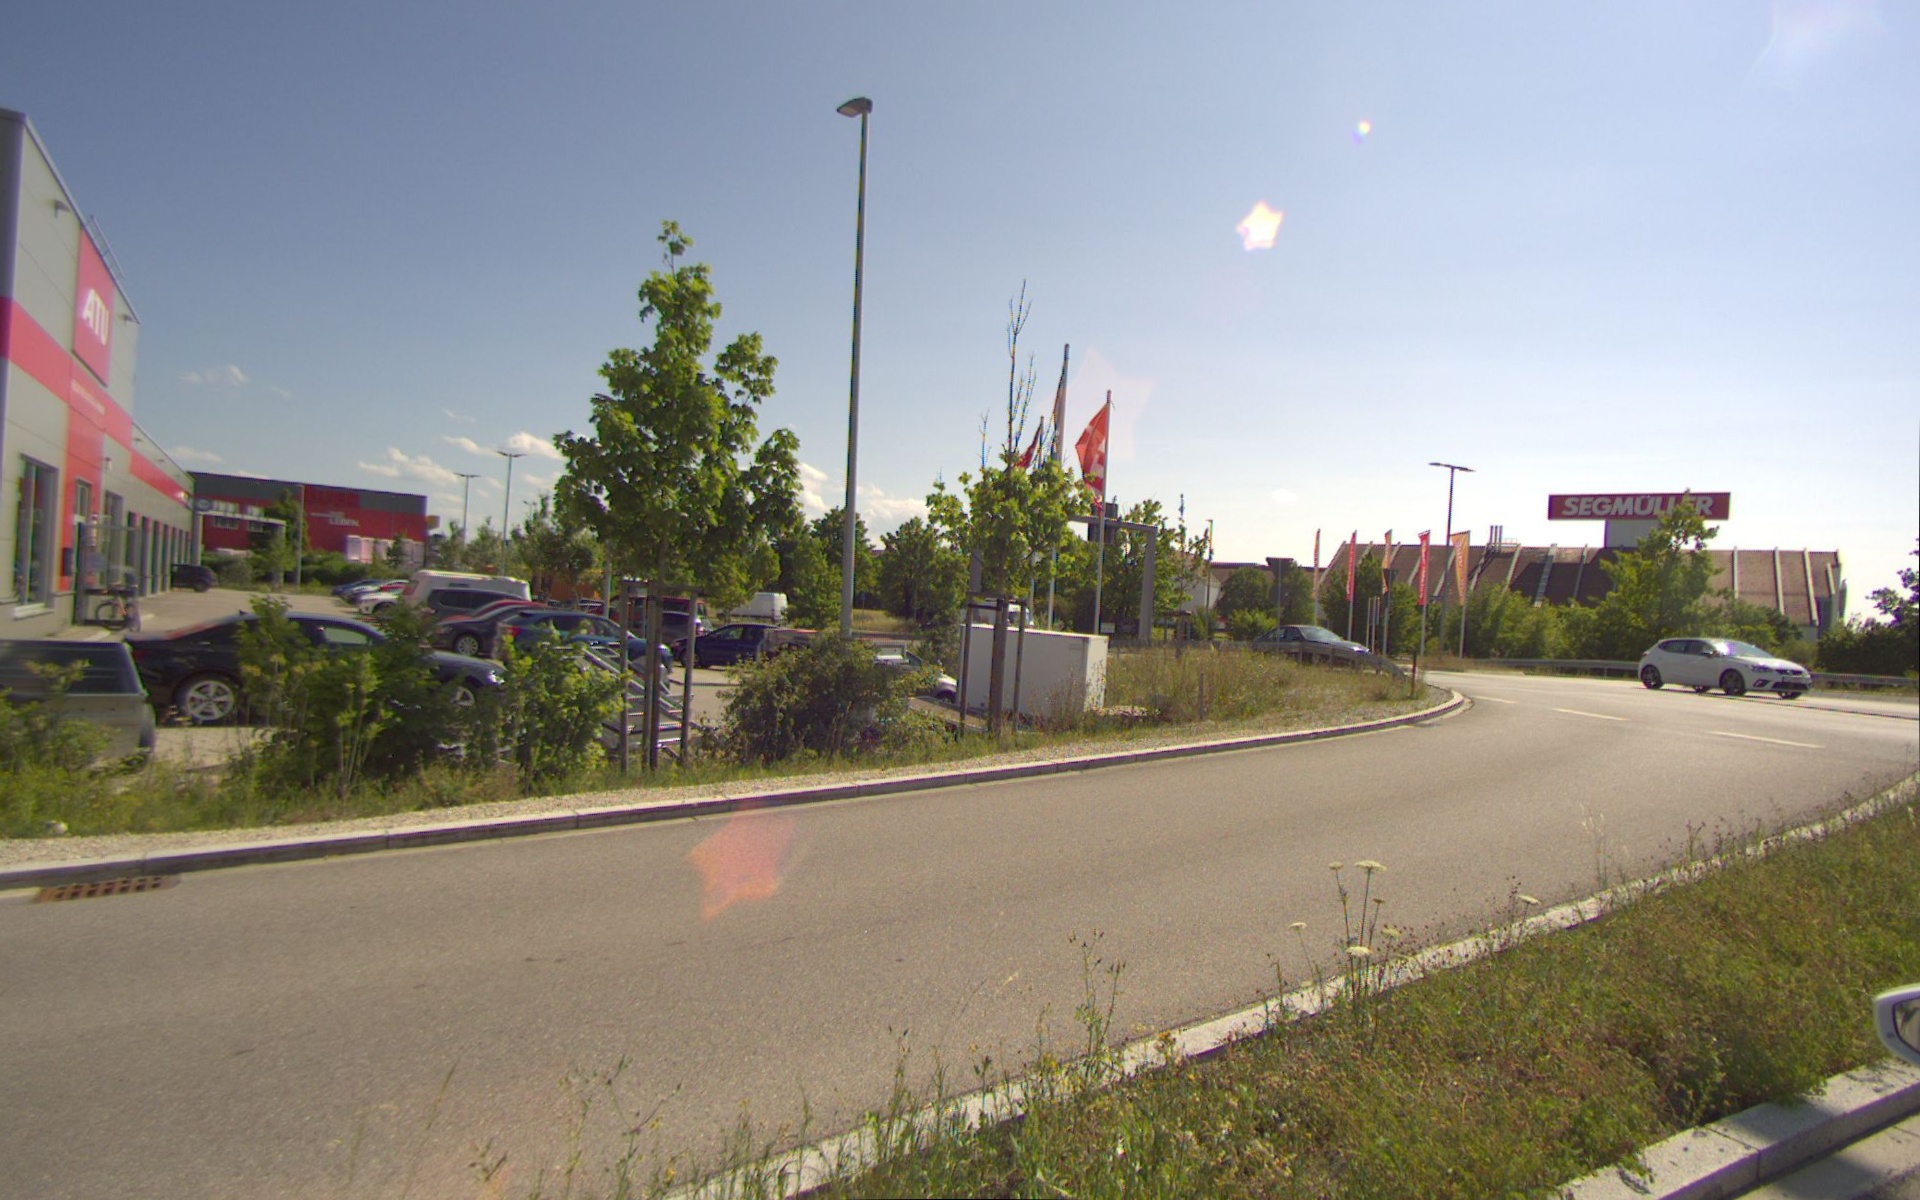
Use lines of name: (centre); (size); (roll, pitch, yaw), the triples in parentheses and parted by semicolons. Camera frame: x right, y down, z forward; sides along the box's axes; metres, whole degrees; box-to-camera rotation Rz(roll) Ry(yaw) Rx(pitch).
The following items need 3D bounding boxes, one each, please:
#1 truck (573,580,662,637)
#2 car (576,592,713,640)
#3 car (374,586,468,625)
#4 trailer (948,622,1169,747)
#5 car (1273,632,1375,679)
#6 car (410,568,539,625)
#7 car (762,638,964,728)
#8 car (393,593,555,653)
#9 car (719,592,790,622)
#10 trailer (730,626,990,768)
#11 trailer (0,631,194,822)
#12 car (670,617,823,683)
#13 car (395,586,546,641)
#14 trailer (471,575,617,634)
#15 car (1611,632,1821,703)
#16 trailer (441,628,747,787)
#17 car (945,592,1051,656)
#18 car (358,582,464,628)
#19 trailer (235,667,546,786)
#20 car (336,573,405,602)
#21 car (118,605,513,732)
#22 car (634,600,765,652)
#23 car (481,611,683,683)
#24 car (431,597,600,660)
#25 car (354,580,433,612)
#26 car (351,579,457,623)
truck: (-26.908, 0.650, 78.976); (6.309, 4.161, 2.662); (3, 0, 22)
car: (-11.490, 0.549, 36.763); (4.368, 1.483, 1.825); (3, 1, 0)
car: (-25.713, 0.275, 47.956); (3.710, 1.672, 1.725); (2, 1, -38)
trailer: (1.851, 1.492, 18.849); (3.627, 1.795, 1.806); (5, 2, 24)
car: (11.734, 1.756, 32.646); (1.644, 1.198, 3.862); (3, 1, -4)
car: (-19.231, -0.127, 39.862); (4.306, 2.040, 1.885); (2, 1, -35)
car: (-1.950, 1.642, 20.490); (3.705, 1.572, 1.727); (3, 1, -34)
car: (-13.775, 0.663, 28.515); (3.955, 1.483, 1.810); (3, 1, -31)
car: (-17.562, 0.587, 85.713); (6.162, 2.264, 2.036); (3, 1, 30)
trailer: (-1.574, 1.426, 15.939); (3.626, 1.795, 1.806); (3, 1, 25)
trailer: (-8.344, 1.058, 9.413); (2.871, 1.340, 1.382); (4, 1, 43)
car: (-6.097, 1.414, 28.996); (3.922, 1.483, 1.825); (5, 1, 0)
car: (-14.862, 0.416, 30.540); (3.955, 1.483, 1.810); (3, 1, -31)
trailer: (-33.792, 0.325, 81.525); (12.115, 4.209, 2.561); (3, 0, 18)
car: (19.515, 1.689, 26.214); (1.759, 1.424, 4.410); (3, 1, -8)
trailer: (-4.909, 1.317, 13.463); (3.627, 1.470, 1.707); (6, 2, 24)
car: (1.875, 1.193, 52.216); (2.065, 2.960, 6.075); (2, 1, -36)
car: (-22.397, 0.205, 41.022); (3.654, 1.672, 1.728); (3, 1, -33)
trailer: (-6.522, 1.372, 11.569); (2.784, 0.893, 1.864); (3, 1, 26)
car: (-38.545, -0.804, 65.704); (3.710, 1.672, 1.725); (2, 1, -38)
car: (-8.914, 0.919, 14.317); (4.446, 1.503, 1.788); (2, 1, -31)
car: (-8.795, 0.855, 34.127); (3.921, 1.483, 1.825); (3, 1, 0)
car: (-8.586, 1.061, 22.925); (3.962, 1.483, 1.807); (2, -2, -36)
car: (-11.949, 0.774, 27.041); (3.955, 1.483, 1.810); (3, 1, -31)
car: (-32.420, -0.226, 57.552); (3.710, 1.672, 1.725); (2, 1, -38)
car: (-23.671, 0.050, 42.810); (3.710, 1.672, 1.725); (2, 1, -38)
